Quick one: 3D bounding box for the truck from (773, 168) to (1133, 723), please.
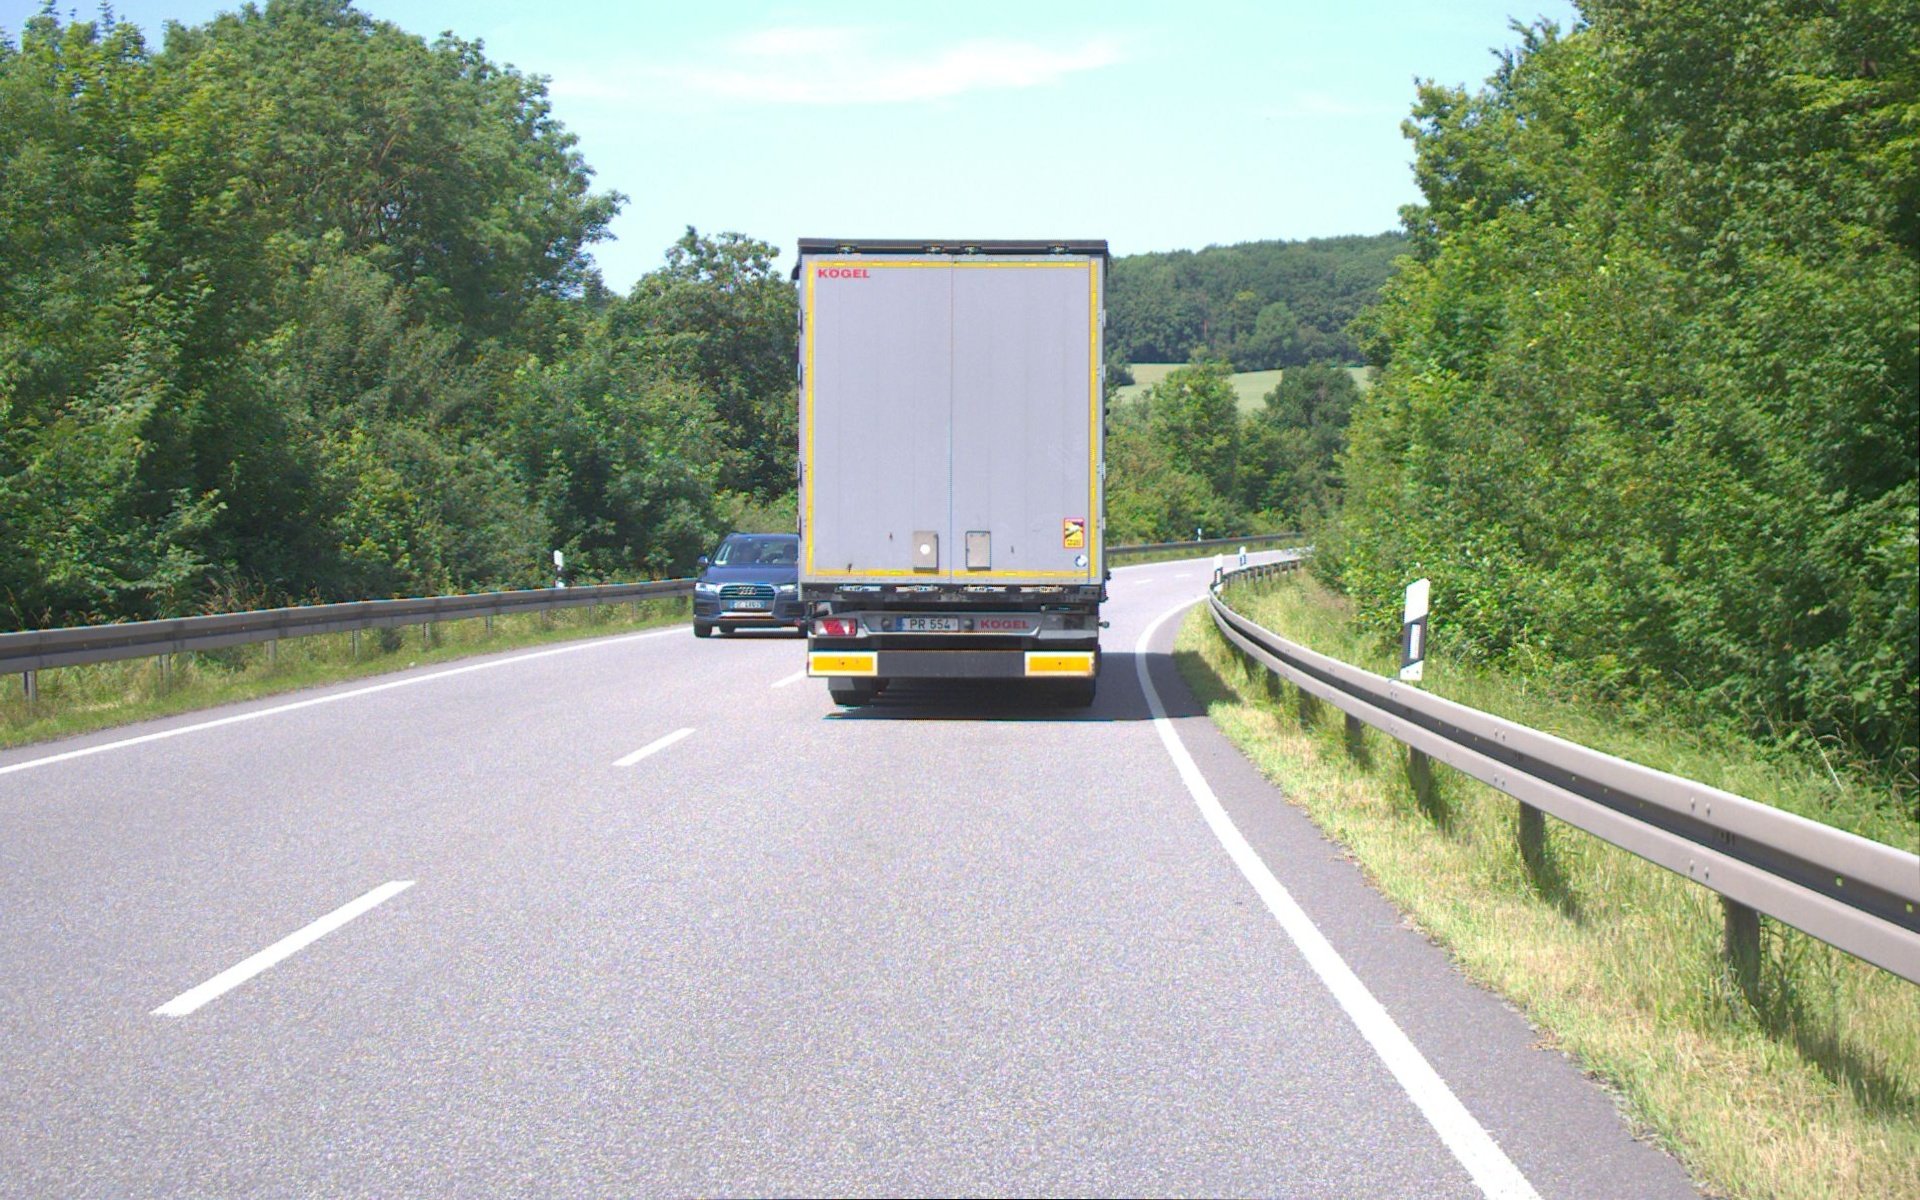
[{"bbox_3d":[0.232,-1.365,34.044,2.818,4.517,11.767,1,1,3],"label":"truck"}]

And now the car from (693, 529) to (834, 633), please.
[{"bbox_3d":[-2.982,-0.316,52.805,1.864,1.522,3.891,1,1,1],"label":"car"}]
